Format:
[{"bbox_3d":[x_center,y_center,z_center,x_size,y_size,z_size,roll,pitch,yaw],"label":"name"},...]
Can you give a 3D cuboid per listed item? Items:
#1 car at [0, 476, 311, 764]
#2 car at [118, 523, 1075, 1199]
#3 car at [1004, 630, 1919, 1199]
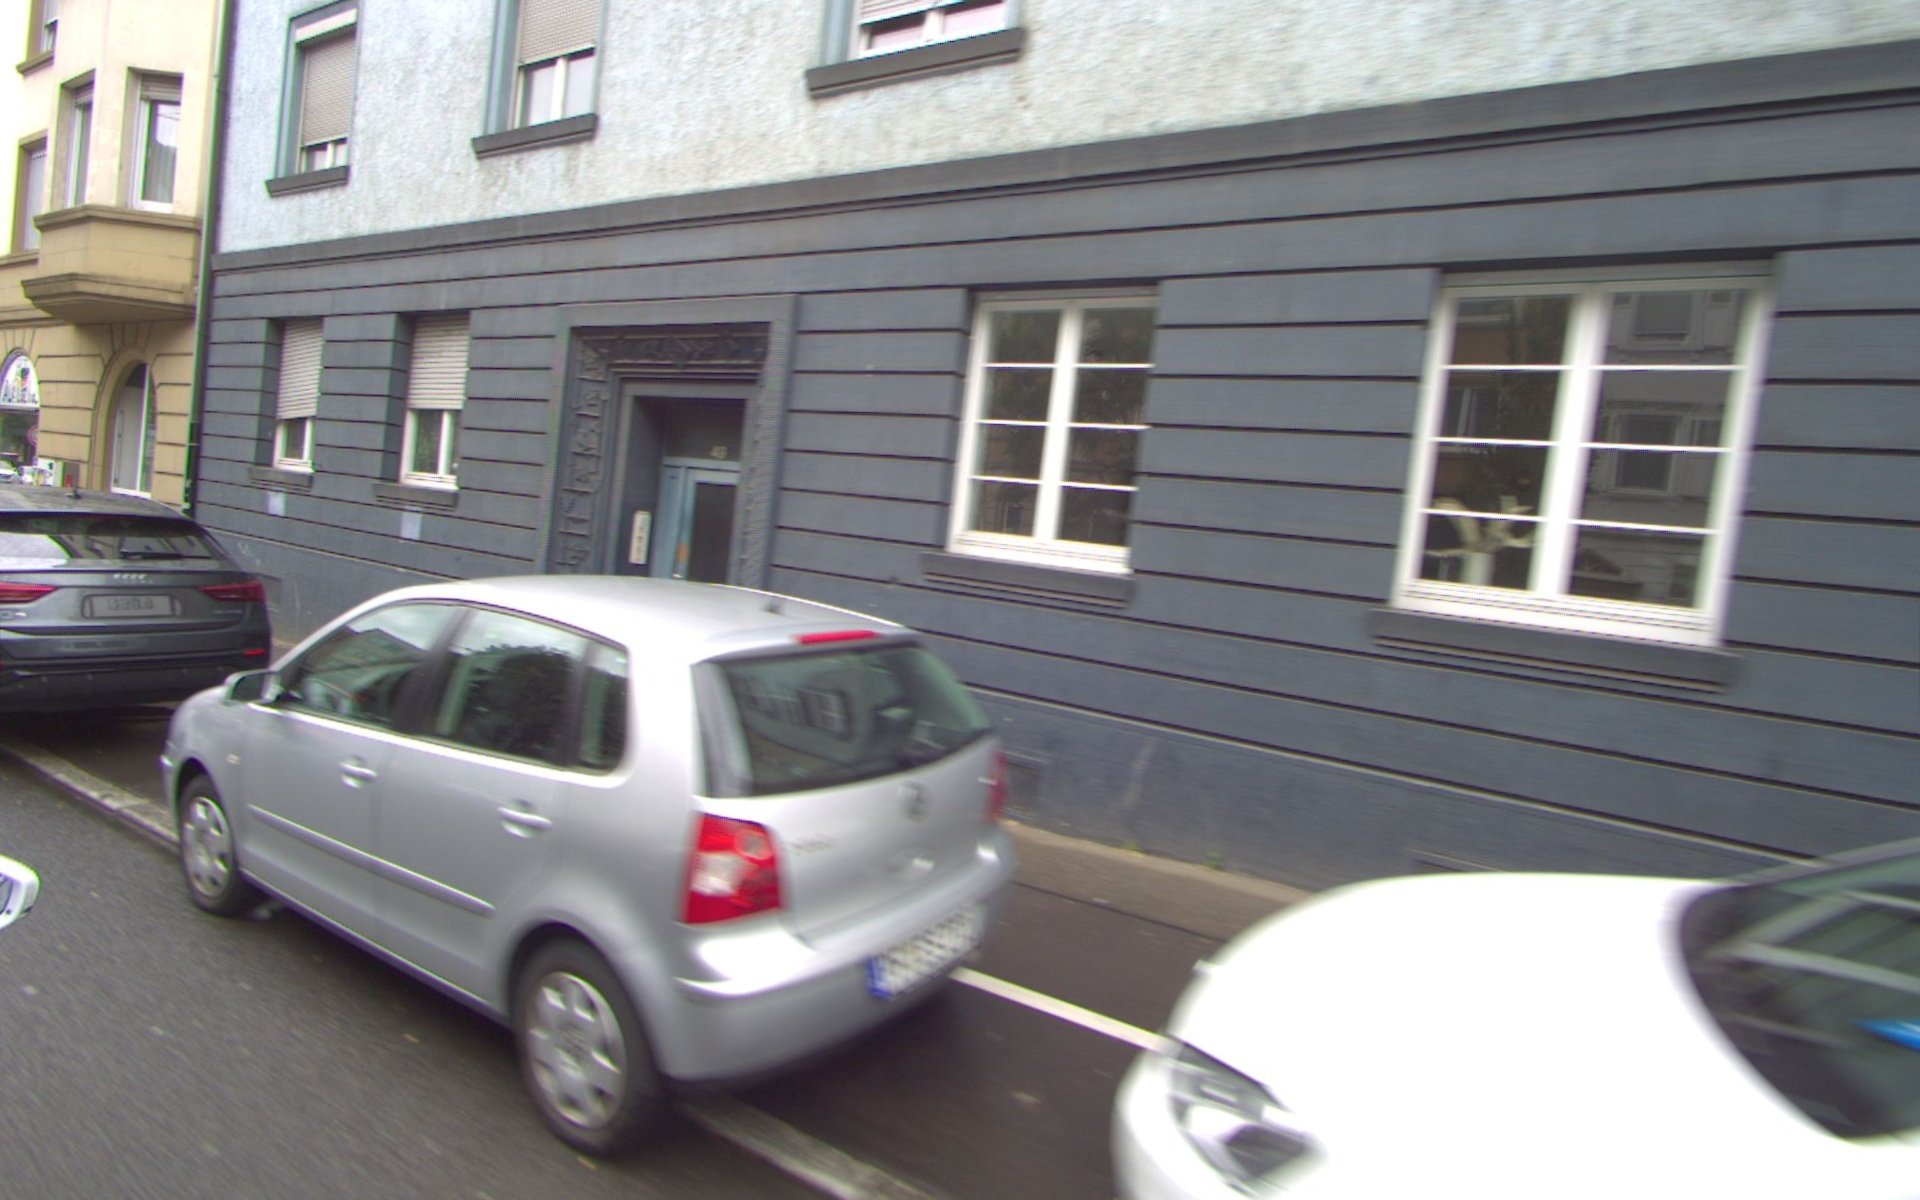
[{"bbox_3d":[-6.667,-0.070,7.163,4.223,1.579,1.817,7,3,33],"label":"car"},{"bbox_3d":[-1.553,0.590,3.884,3.535,1.449,1.582,7,4,32],"label":"car"},{"bbox_3d":[2.202,1.009,1.541,3.908,1.449,1.728,7,4,32],"label":"car"}]
